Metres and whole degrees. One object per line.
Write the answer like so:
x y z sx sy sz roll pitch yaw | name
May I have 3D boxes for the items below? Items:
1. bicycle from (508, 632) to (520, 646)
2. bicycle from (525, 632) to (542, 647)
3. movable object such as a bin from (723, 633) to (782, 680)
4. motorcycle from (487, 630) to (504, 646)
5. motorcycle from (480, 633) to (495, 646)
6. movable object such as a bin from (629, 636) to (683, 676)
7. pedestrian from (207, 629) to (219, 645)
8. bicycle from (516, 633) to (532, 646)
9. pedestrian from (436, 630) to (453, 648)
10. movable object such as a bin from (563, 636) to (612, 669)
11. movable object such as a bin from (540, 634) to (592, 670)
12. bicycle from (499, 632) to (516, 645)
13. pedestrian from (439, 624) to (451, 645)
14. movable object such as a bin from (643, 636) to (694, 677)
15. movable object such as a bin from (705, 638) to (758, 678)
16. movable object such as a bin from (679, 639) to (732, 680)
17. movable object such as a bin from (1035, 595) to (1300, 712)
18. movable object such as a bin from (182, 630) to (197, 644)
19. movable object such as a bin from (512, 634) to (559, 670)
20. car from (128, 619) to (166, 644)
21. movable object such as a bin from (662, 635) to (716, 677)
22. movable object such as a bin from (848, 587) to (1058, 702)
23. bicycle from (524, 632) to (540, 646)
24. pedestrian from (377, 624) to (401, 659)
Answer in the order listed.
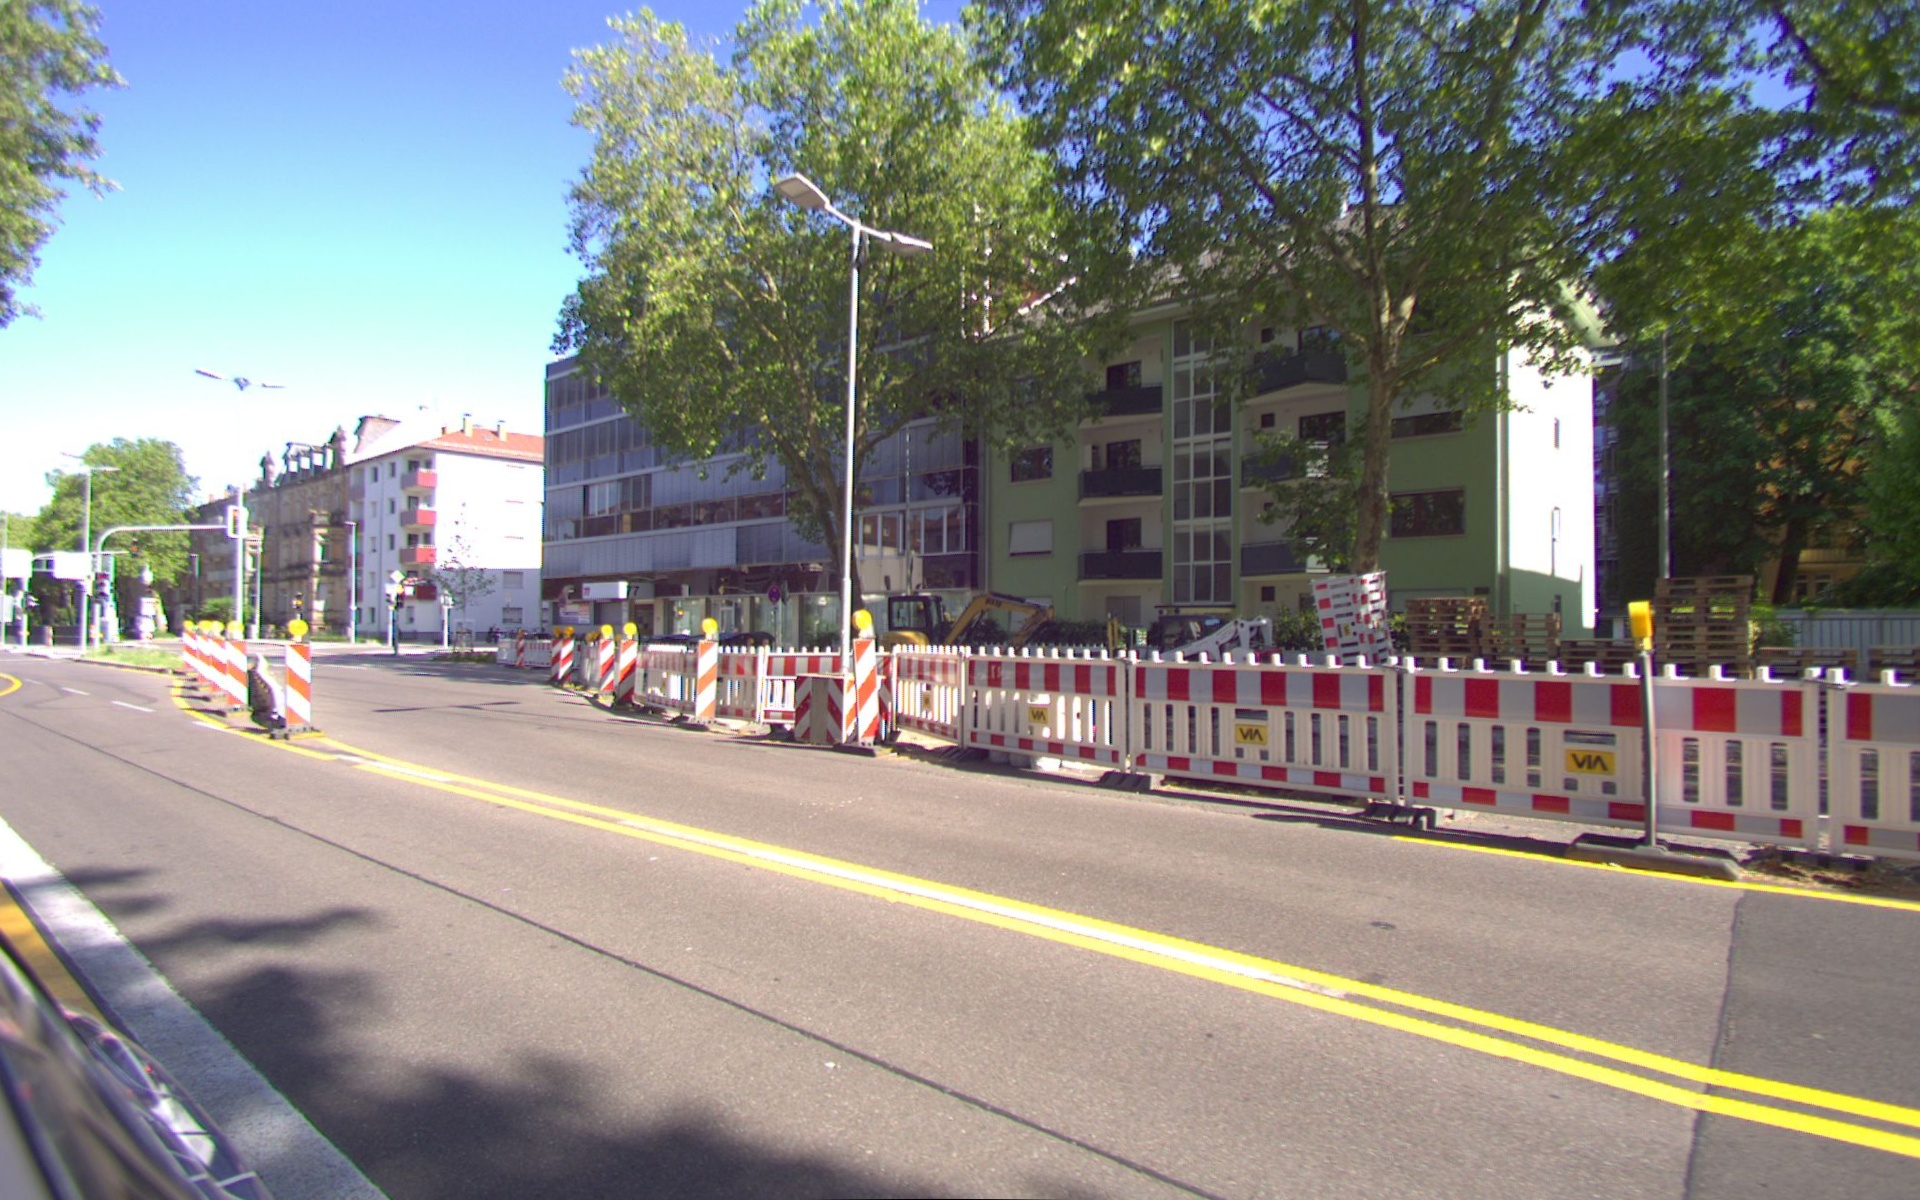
-31.982 2.774 72.513 0.500 0.985 1.890 1 -2 -33 | bicycle
-31.057 2.840 73.650 1.737 1.077 0.483 -2 -2 43 | bicycle
-6.516 1.756 31.906 1.251 1.433 1.627 -1 -2 15 | movable object such as a bin
-33.612 2.729 73.216 0.603 1.150 1.786 1 -2 -40 | motorcycle
-33.438 2.802 71.627 0.496 0.943 1.844 1 -2 -42 | motorcycle
-10.577 1.933 35.218 1.157 1.348 1.394 -2 -2 43 | movable object such as a bin
-68.881 3.416 93.292 1.089 1.388 0.560 1 -3 39 | pedestrian
-31.314 2.834 72.665 0.471 0.955 1.954 1 -2 -40 | bicycle
-35.356 2.671 69.469 0.785 1.162 0.712 -1 -2 29 | pedestrian
-14.335 1.987 38.927 1.242 1.212 1.379 -2 -2 44 | movable object such as a bin
-15.617 2.041 40.100 1.855 1.399 1.201 -2 -2 43 | movable object such as a bin
-33.549 2.846 75.016 0.567 0.976 1.738 1 -2 -44 | bicycle
-37.278 2.526 73.289 0.695 1.508 0.593 -2 -2 44 | pedestrian
-9.883 1.897 34.360 0.936 1.348 1.395 -2 -2 43 | movable object such as a bin
-7.561 1.893 33.477 1.539 1.280 0.969 -2 -2 41 | movable object such as a bin
-8.218 1.896 32.714 1.539 1.280 0.969 -2 -2 41 | movable object such as a bin
4.454 1.119 22.490 5.599 2.296 1.971 -1 -3 44 | movable object such as a bin
-75.866 3.648 99.691 1.473 1.371 0.883 -4 -5 42 | movable object such as a bin
-17.435 2.118 41.565 1.855 1.399 1.102 -2 -2 43 | movable object such as a bin
-86.515 3.348 107.641 5.285 2.465 2.221 -3 -5 42 | car
-9.033 1.863 33.765 1.068 1.348 1.395 -2 -2 43 | movable object such as a bin
-0.265 1.119 26.480 5.347 2.727 2.126 -1 -2 38 | movable object such as a bin
-32.334 2.925 76.415 0.567 1.066 1.691 1 -2 -44 | bicycle
-28.595 2.050 50.666 0.854 1.724 1.013 1 -3 -42 | pedestrian
